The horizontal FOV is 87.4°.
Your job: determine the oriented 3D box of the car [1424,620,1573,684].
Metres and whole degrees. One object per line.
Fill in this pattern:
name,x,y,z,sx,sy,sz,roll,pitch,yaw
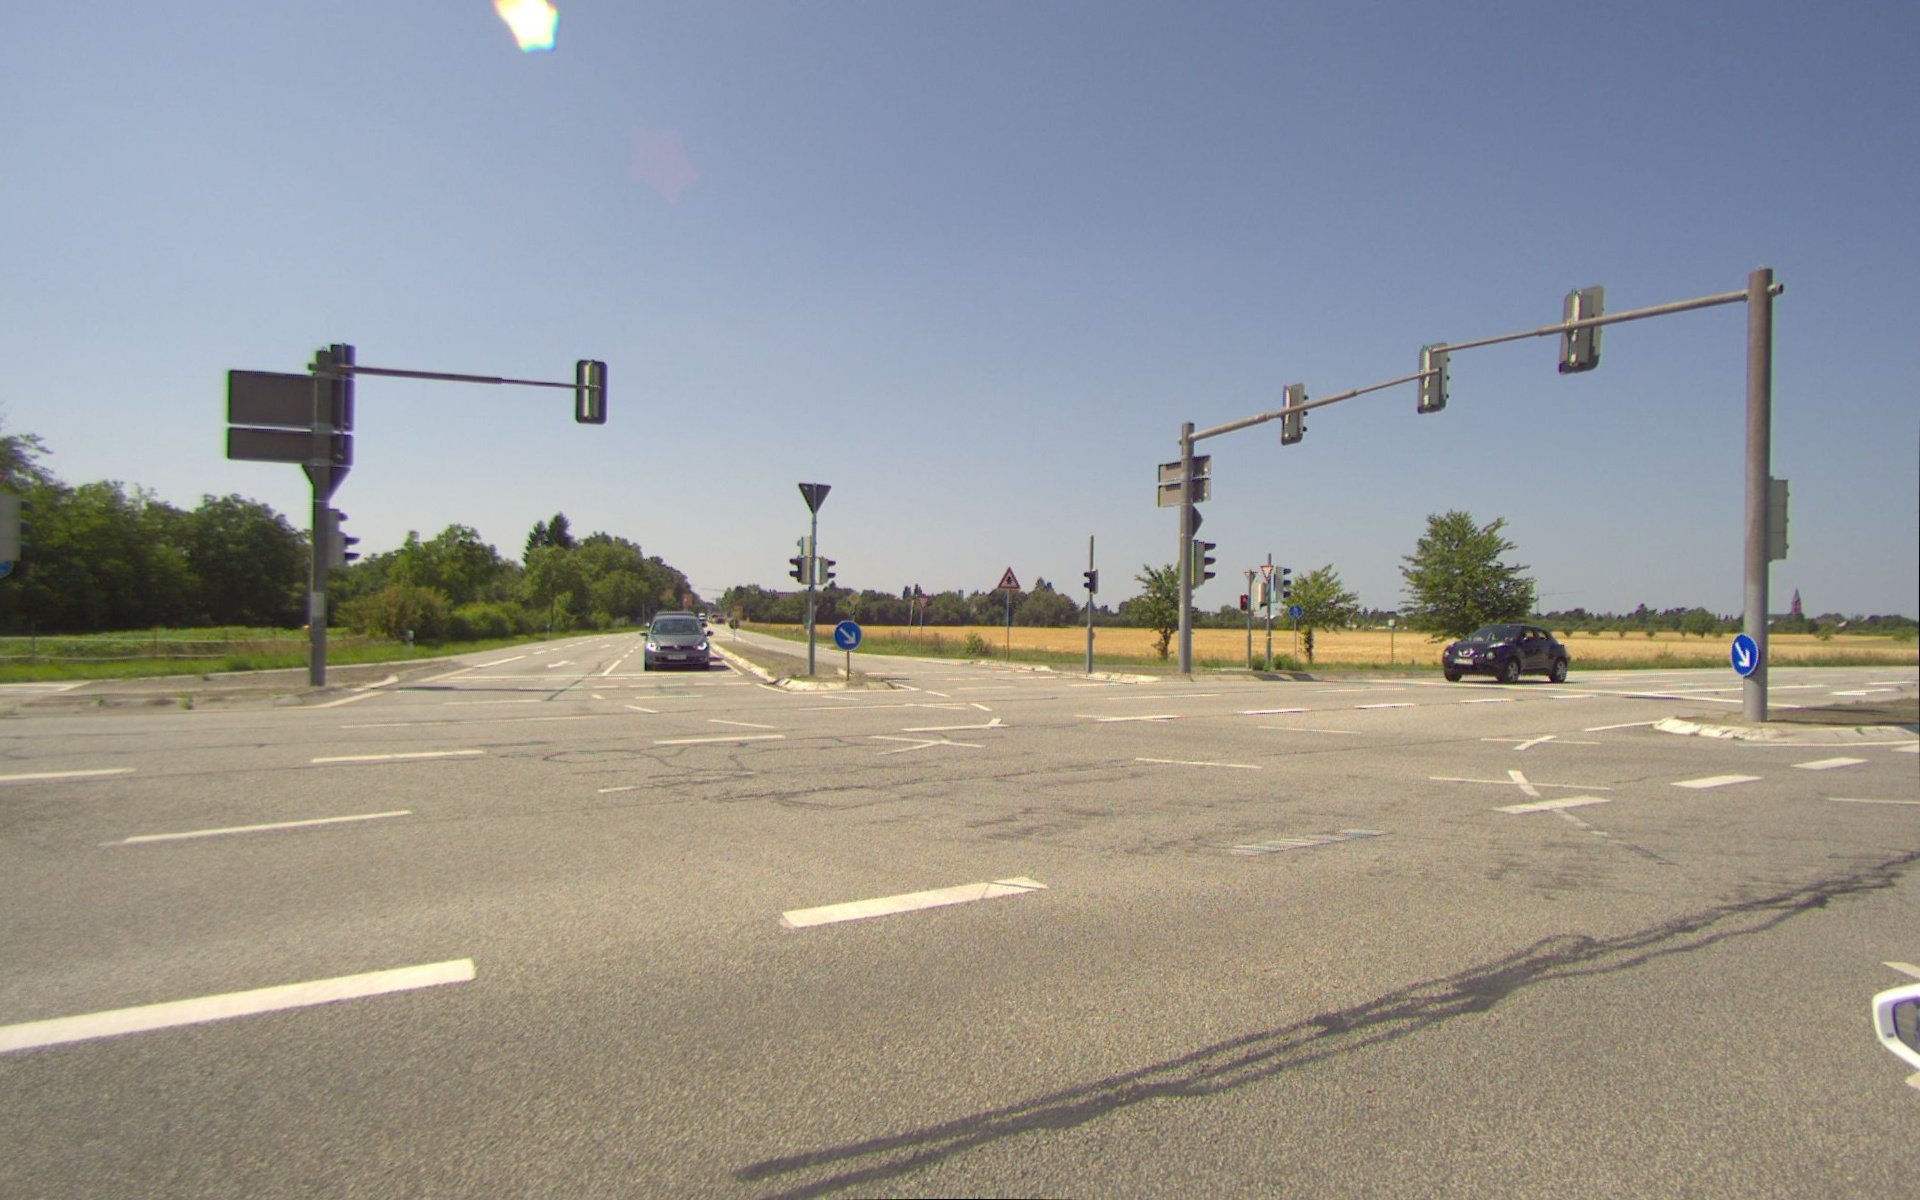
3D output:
car,14.655,1.404,27.281,4.261,1.621,1.819,2,-2,-34

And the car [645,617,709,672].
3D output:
car,-7.984,1.206,28.432,1.608,1.405,3.868,1,0,-15
